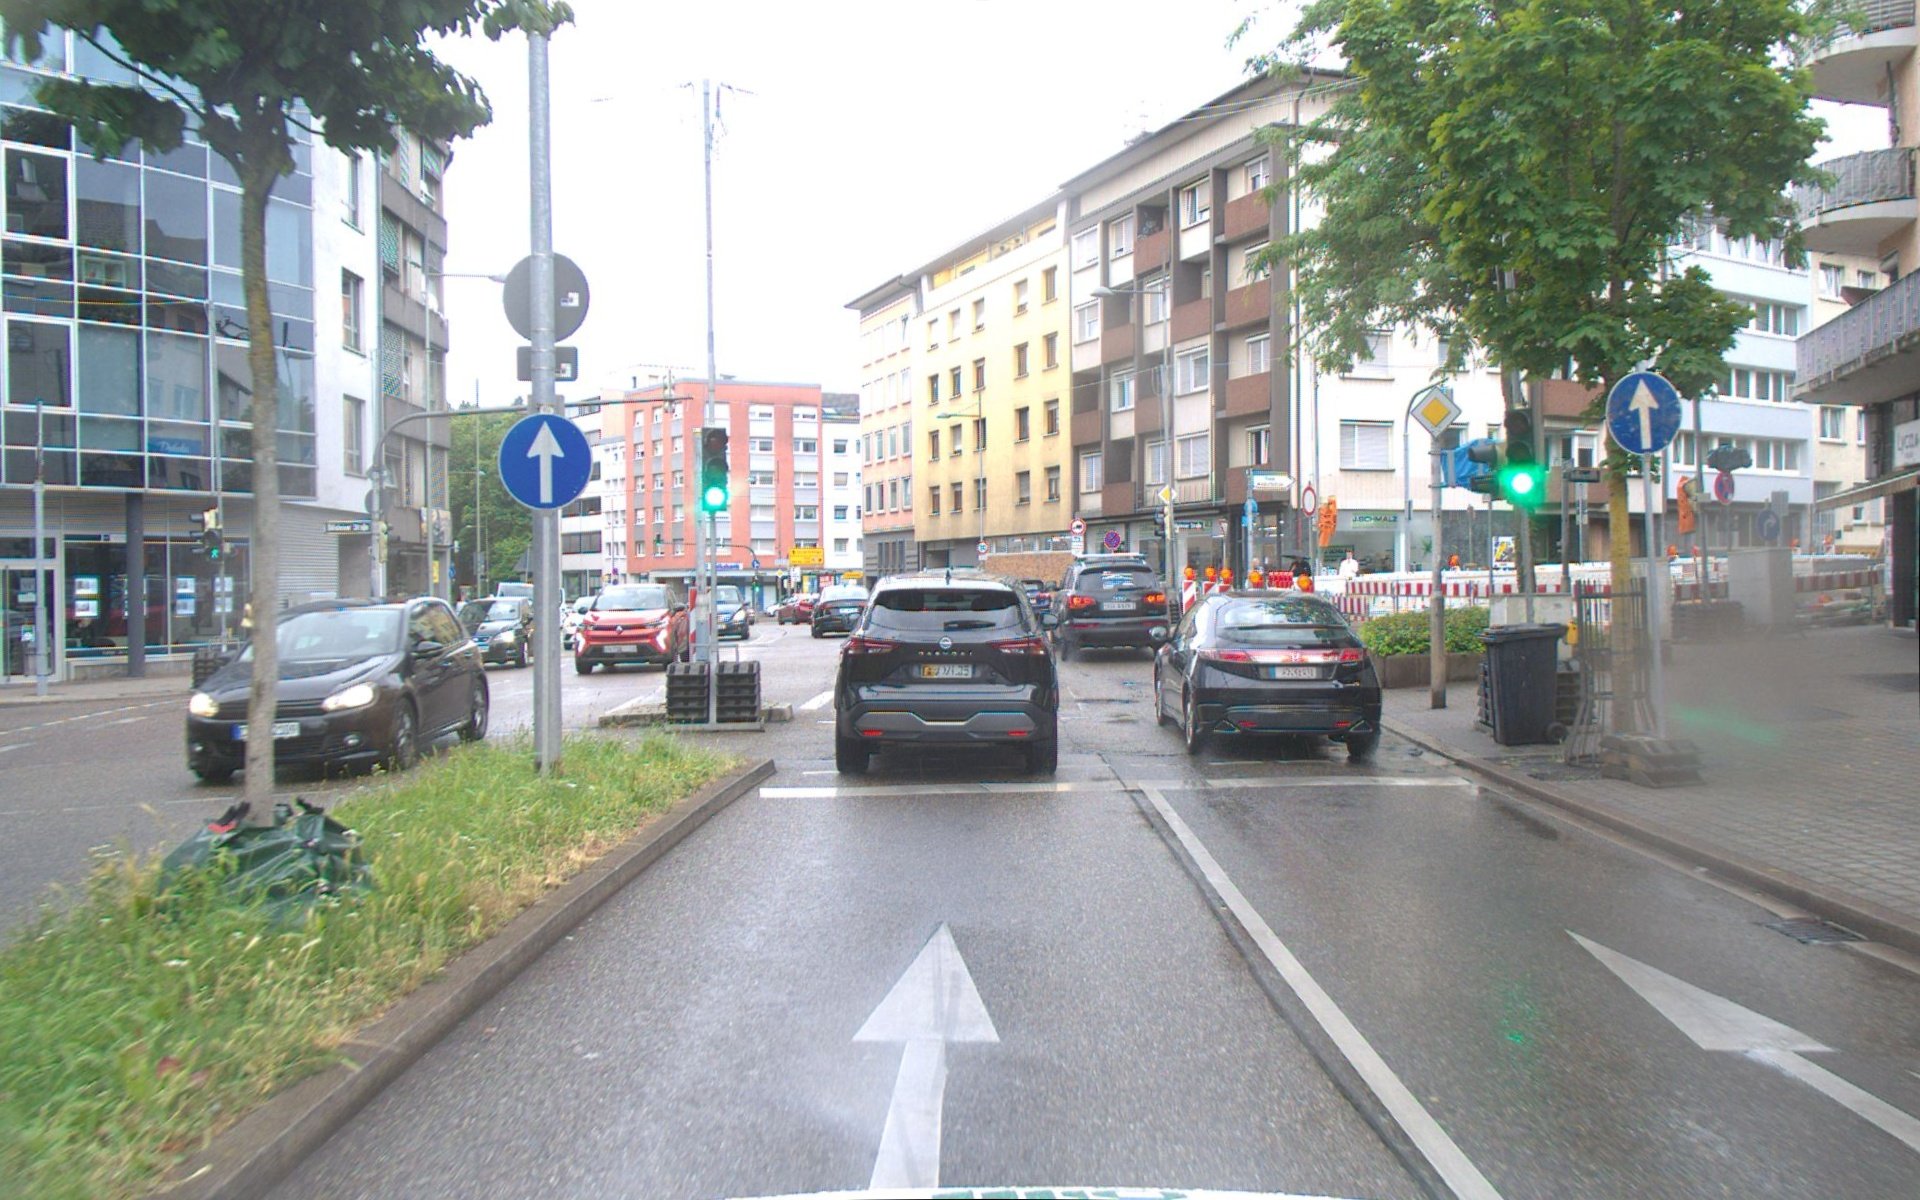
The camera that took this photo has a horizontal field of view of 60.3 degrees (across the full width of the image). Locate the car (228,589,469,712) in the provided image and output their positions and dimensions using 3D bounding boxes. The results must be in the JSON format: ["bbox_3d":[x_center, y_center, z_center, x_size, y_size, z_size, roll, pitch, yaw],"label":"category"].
[{"bbox_3d":[-8.688,0.647,23.962,1.808,1.442,4.614,-4,1,-2],"label":"car"}]

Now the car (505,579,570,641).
[{"bbox_3d":[-14.904,0.408,58.243,2.084,2.050,5.107,1,-2,-15],"label":"car"}]

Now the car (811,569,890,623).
[{"bbox_3d":[-3.131,-0.097,46.608,1.955,1.412,4.493,1,0,-7],"label":"car"}]

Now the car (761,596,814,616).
[{"bbox_3d":[-13.977,0.441,133.860,3.896,1.512,1.689,-1,0,-25],"label":"car"}]

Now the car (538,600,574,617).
[{"bbox_3d":[-36.880,0.790,150.792,1.758,1.425,4.527,-3,1,-33],"label":"car"}]

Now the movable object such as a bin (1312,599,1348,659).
[{"bbox_3d":[6.095,0.475,27.248,0.411,0.945,0.531,-3,2,-3],"label":"movable object such as a bin"}]

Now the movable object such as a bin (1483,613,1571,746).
[{"bbox_3d":[5.167,0.712,15.096,0.566,1.130,0.666,-3,2,4],"label":"movable object such as a bin"}]

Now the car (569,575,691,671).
[{"bbox_3d":[-6.081,0.380,30.866,1.811,1.622,4.085,-2,1,-6],"label":"car"}]

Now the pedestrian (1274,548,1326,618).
[{"bbox_3d":[9.495,-0.463,46.228,0.912,1.893,1.015,-1,-2,-43],"label":"pedestrian"}]

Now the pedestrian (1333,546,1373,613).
[{"bbox_3d":[11.343,-0.592,47.734,0.646,1.912,0.987,-4,-2,43],"label":"pedestrian"}]

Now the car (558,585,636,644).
[{"bbox_3d":[-10.293,0.372,47.142,1.739,1.550,4.277,-2,1,-7],"label":"car"}]

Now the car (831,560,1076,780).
[{"bbox_3d":[-0.078,0.514,14.506,1.856,1.657,3.999,0,0,-1],"label":"car"}]

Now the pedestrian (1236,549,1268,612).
[{"bbox_3d":[8.262,-0.537,46.777,0.775,1.717,0.822,-3,-1,13],"label":"pedestrian"}]

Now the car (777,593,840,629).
[{"bbox_3d":[-7.042,0.499,76.643,1.964,1.557,3.976,1,0,-20],"label":"car"}]

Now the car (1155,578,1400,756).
[{"bbox_3d":[2.975,0.559,16.286,1.746,1.523,4.057,0,0,2],"label":"car"}]

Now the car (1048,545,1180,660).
[{"bbox_3d":[2.718,-0.022,30.161,1.979,1.902,4.900,-1,2,1],"label":"car"}]

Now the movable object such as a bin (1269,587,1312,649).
[{"bbox_3d":[5.870,0.307,29.374,0.608,1.049,0.531,-3,2,-3],"label":"movable object such as a bin"}]

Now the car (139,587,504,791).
[{"bbox_3d":[-5.559,0.677,15.013,1.781,1.466,4.156,-3,1,-3],"label":"car"}]

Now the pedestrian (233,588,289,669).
[{"bbox_3d":[-14.467,0.591,34.222,0.611,1.636,0.832,-1,1,24],"label":"pedestrian"}]

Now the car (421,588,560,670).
[{"bbox_3d":[-9.661,0.557,34.306,1.810,1.523,3.999,-2,1,-2],"label":"car"}]

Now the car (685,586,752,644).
[{"bbox_3d":[-7.118,0.408,49.072,1.795,1.570,4.278,-2,1,-6],"label":"car"}]

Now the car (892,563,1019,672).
[{"bbox_3d":[-0.001,0.263,29.288,1.905,1.714,4.002,-3,1,4],"label":"car"}]
